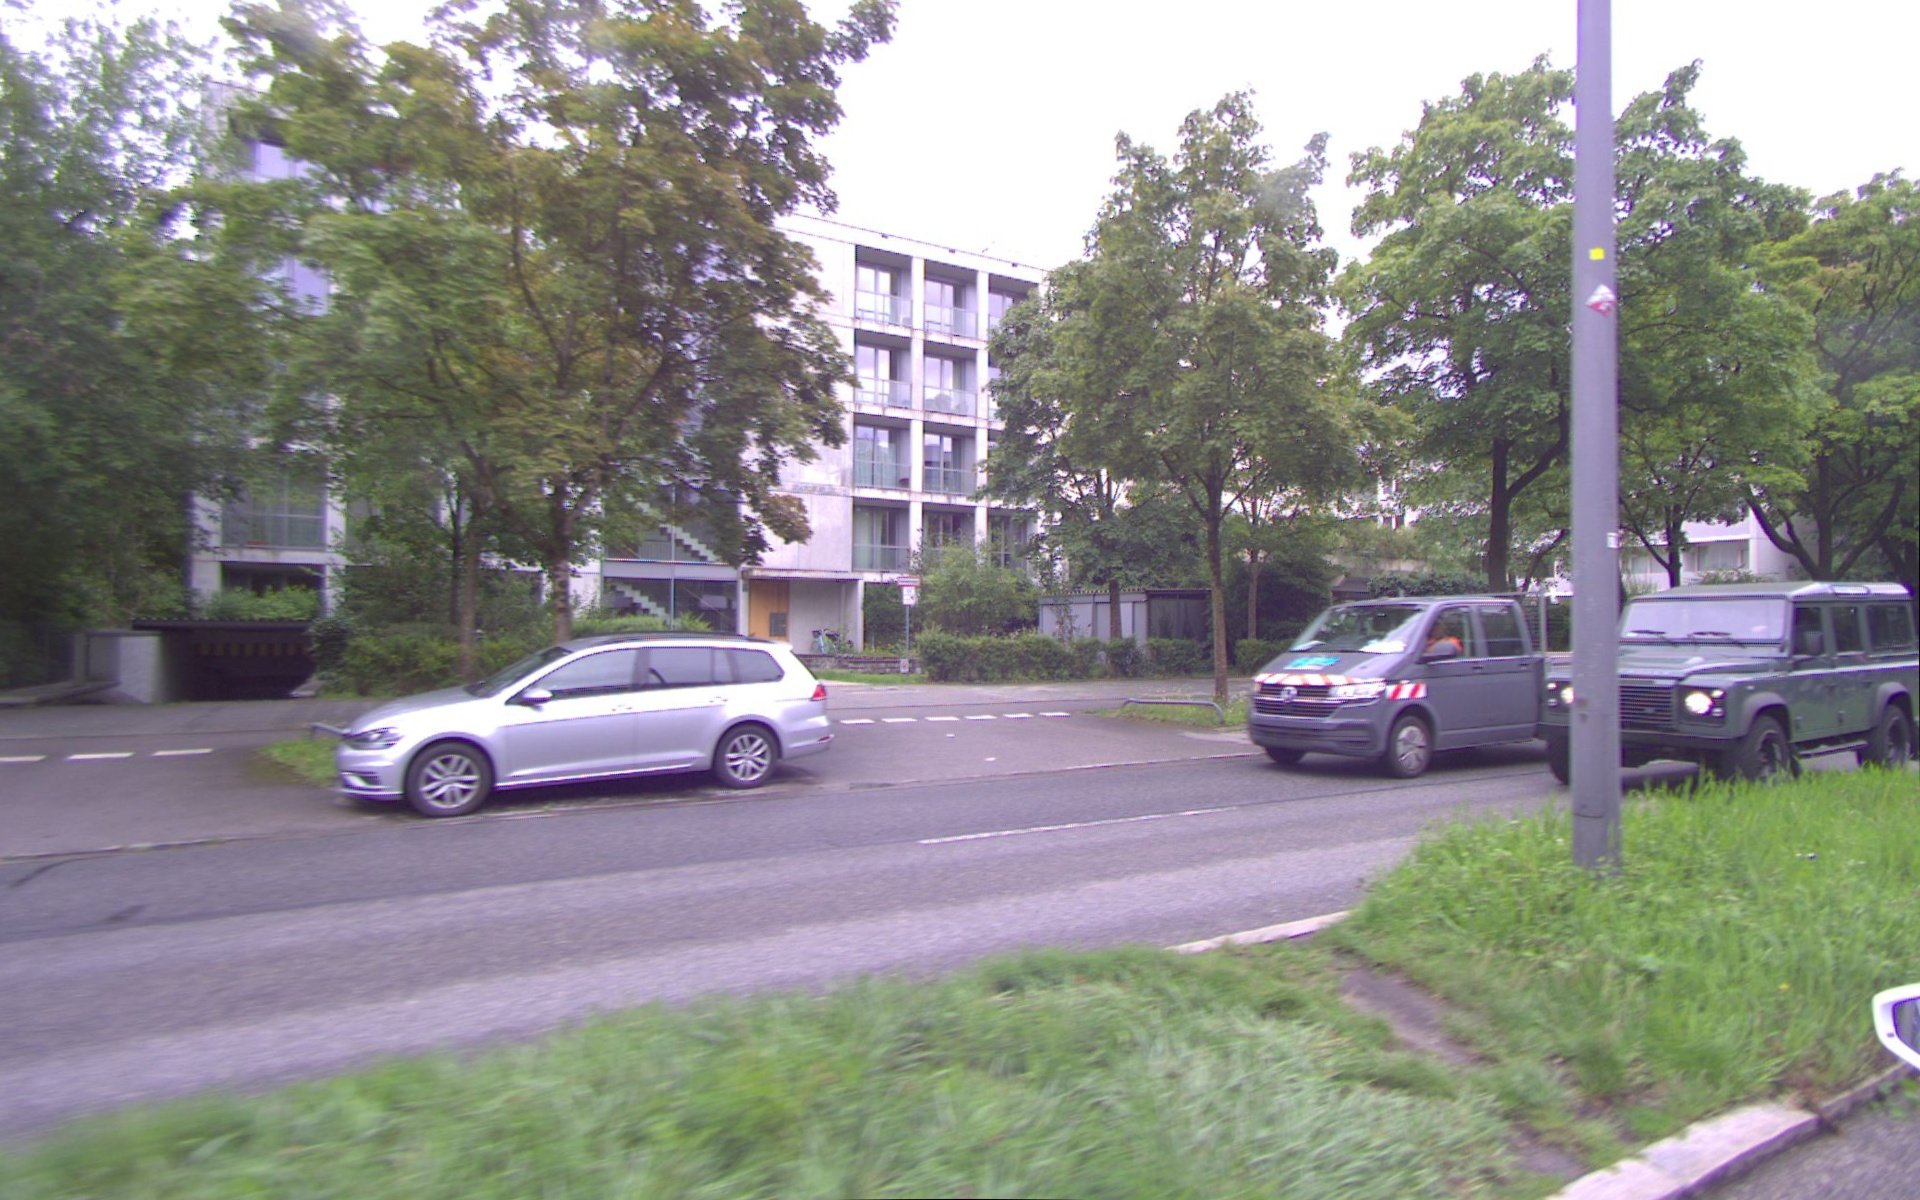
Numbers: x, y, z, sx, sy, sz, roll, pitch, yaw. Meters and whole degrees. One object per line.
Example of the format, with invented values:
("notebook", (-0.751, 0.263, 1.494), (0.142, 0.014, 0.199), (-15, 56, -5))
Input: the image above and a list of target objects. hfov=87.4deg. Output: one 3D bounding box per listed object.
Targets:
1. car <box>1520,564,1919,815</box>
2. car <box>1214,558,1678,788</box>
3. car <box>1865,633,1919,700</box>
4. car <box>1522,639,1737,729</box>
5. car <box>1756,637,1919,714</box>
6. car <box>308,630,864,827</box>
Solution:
("car", (7.959, 0.805, 10.215), (4.761, 2.056, 1.772), (1, -2, -30))
("car", (5.975, 0.813, 12.137), (5.731, 2.222, 2.199), (1, -3, -30))
("car", (25.787, 1.734, 26.397), (4.159, 1.618, 1.678), (1, 1, -29))
("car", (12.657, 1.510, 18.957), (4.140, 1.442, 1.618), (1, 1, -29))
("car", (20.973, 1.705, 23.689), (4.975, 1.545, 1.708), (1, 1, -30))
("car", (-3.477, 1.076, 9.846), (4.766, 1.468, 1.728), (1, 1, -30))
